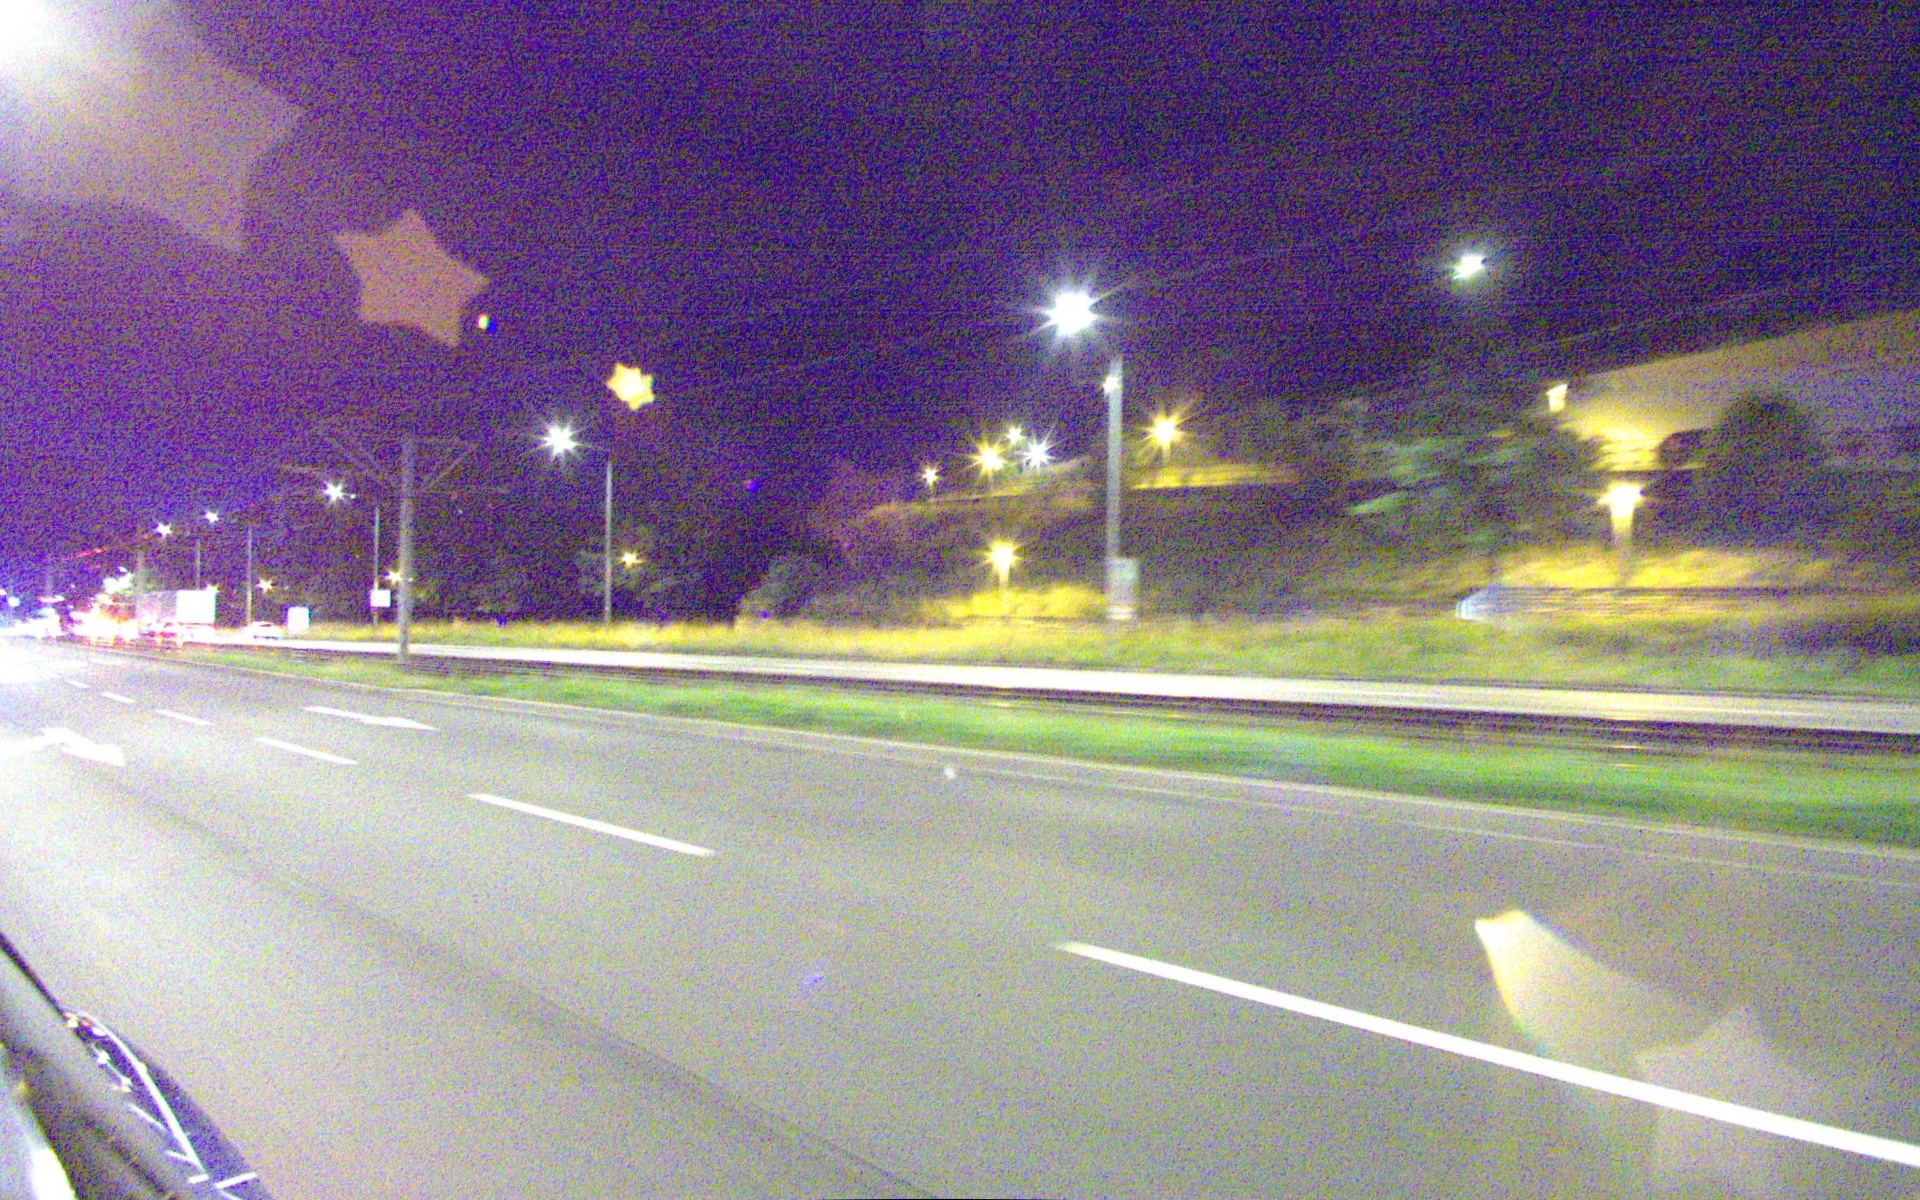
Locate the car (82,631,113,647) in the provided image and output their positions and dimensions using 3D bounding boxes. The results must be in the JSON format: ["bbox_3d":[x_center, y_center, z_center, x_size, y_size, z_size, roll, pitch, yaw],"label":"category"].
[{"bbox_3d":[-88.846,4.002,104.208,4.082,1.510,1.786,-1,-1,40],"label":"car"}]

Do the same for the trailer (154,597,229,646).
[{"bbox_3d":[-67.638,1.827,88.956,8.392,4.019,3.657,-1,0,41],"label":"trailer"}]

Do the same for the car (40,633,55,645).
[{"bbox_3d":[-154.921,6.611,171.814,1.769,1.921,4.004,-1,0,-43],"label":"car"}]

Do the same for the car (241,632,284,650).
[{"bbox_3d":[-57.738,3.379,83.803,4.202,1.492,1.965,-1,-3,42],"label":"car"}]

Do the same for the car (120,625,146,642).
[{"bbox_3d":[-89.289,3.614,109.213,3.962,1.637,1.706,-1,0,44],"label":"car"}]

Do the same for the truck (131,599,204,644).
[{"bbox_3d":[-74.682,1.951,95.274,10.417,3.984,3.642,-1,0,42],"label":"truck"}]
